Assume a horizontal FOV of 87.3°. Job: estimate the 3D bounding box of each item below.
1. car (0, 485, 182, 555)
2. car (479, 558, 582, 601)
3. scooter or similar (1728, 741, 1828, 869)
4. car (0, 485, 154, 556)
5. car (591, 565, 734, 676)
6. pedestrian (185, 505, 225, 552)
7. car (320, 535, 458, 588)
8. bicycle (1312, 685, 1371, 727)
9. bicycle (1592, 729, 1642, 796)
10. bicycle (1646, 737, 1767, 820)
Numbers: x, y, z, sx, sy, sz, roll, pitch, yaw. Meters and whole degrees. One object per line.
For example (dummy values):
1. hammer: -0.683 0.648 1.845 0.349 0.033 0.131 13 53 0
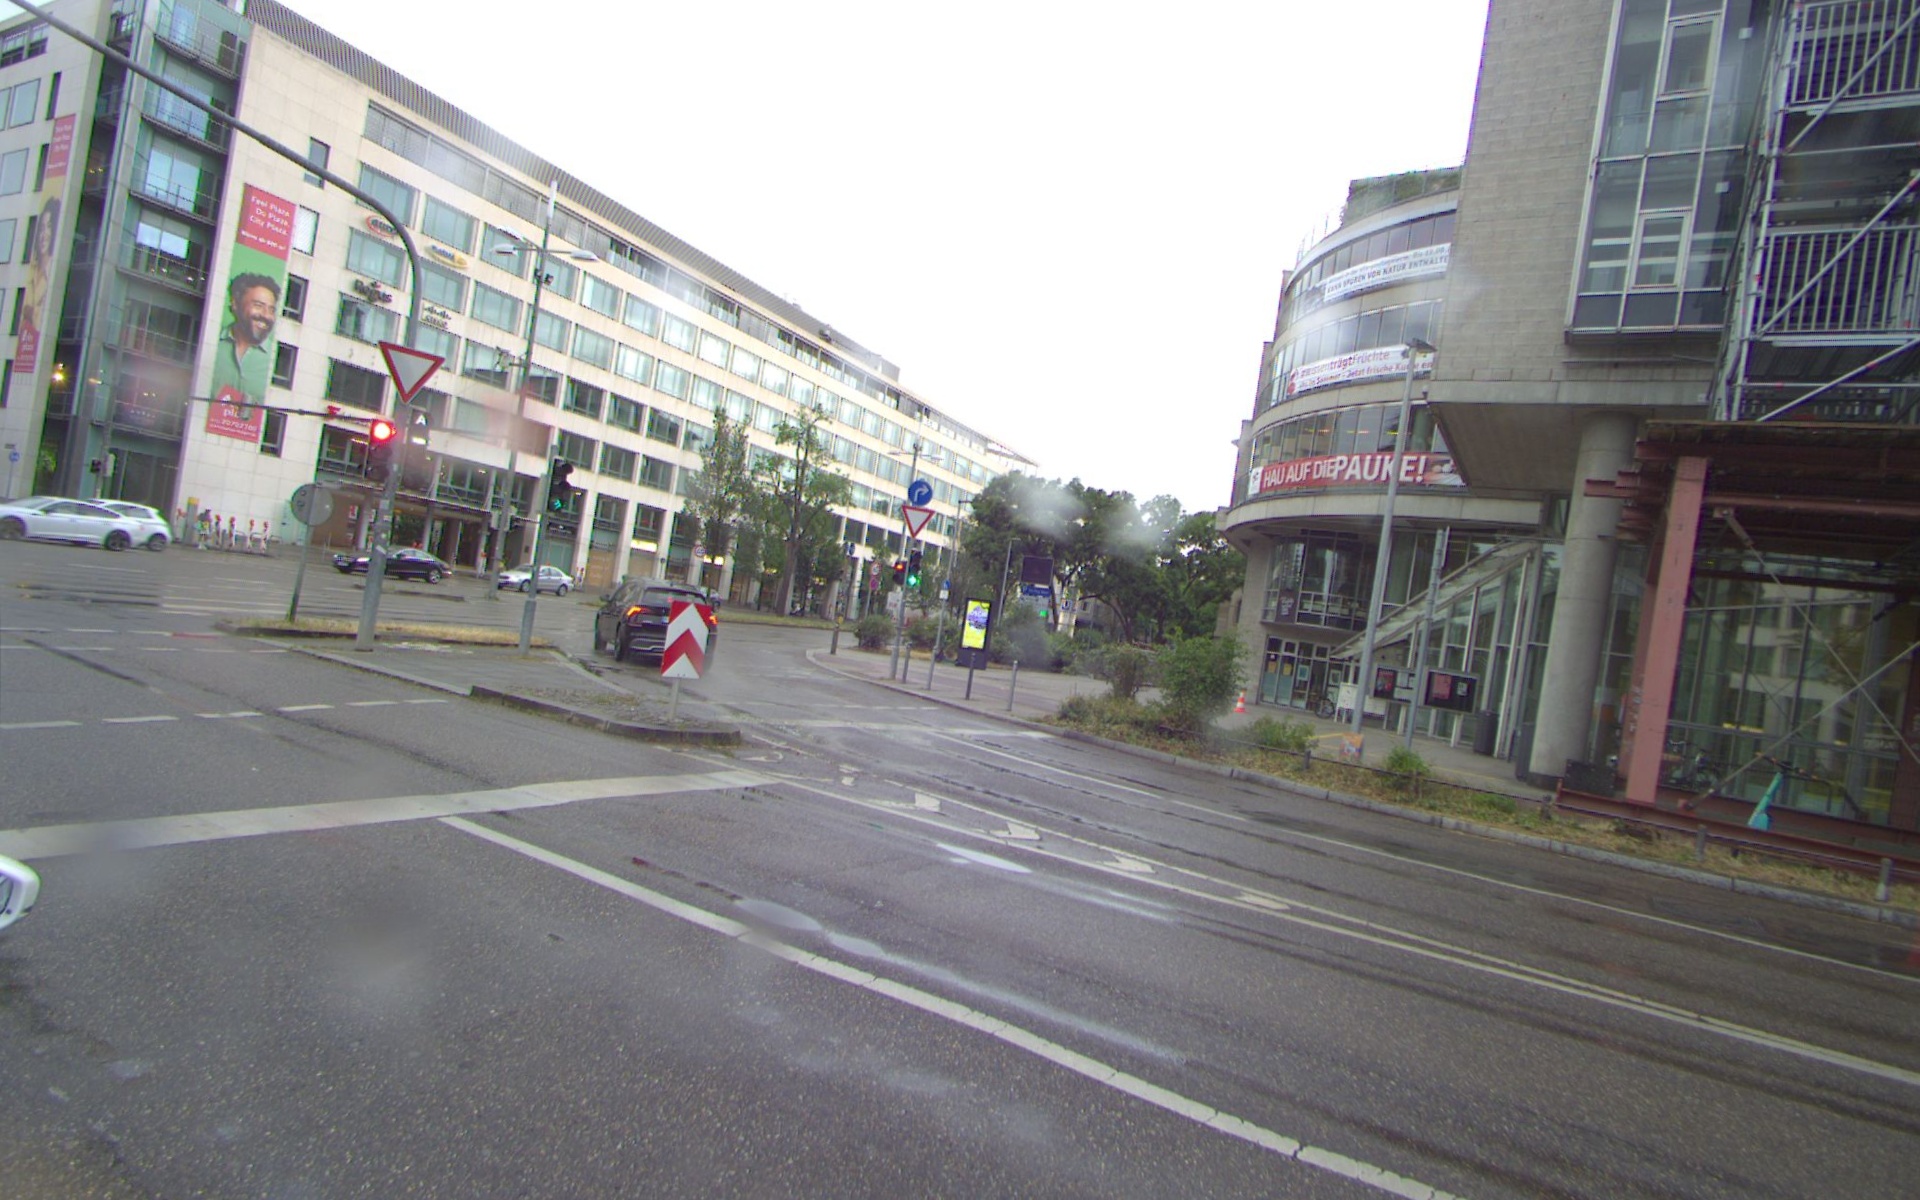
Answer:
1. car: -29.345 -2.633 33.874 1.776 1.529 4.704 7 -2 16
2. car: -21.207 -0.986 49.908 1.962 1.494 4.739 6 -3 17
3. scooter or similar: 9.236 2.269 11.415 0.577 1.208 1.780 7 -1 34
4. car: -27.171 -2.424 29.925 1.776 1.529 4.704 7 -2 16
5. car: -5.863 0.319 19.503 1.912 1.715 3.976 8 -1 -25
6. pedestrian: -32.473 -3.053 43.272 0.822 1.838 0.963 6 -1 31
7. car: -23.714 -1.558 42.030 1.962 1.494 4.868 6 -3 19
8. bicycle: 13.468 3.746 35.528 1.753 1.208 0.586 6 -1 29
9. bicycle: 13.584 3.339 20.845 0.576 1.208 1.614 7 -2 27
10. bicycle: 13.499 3.225 18.227 1.584 1.208 0.587 7 -1 6
